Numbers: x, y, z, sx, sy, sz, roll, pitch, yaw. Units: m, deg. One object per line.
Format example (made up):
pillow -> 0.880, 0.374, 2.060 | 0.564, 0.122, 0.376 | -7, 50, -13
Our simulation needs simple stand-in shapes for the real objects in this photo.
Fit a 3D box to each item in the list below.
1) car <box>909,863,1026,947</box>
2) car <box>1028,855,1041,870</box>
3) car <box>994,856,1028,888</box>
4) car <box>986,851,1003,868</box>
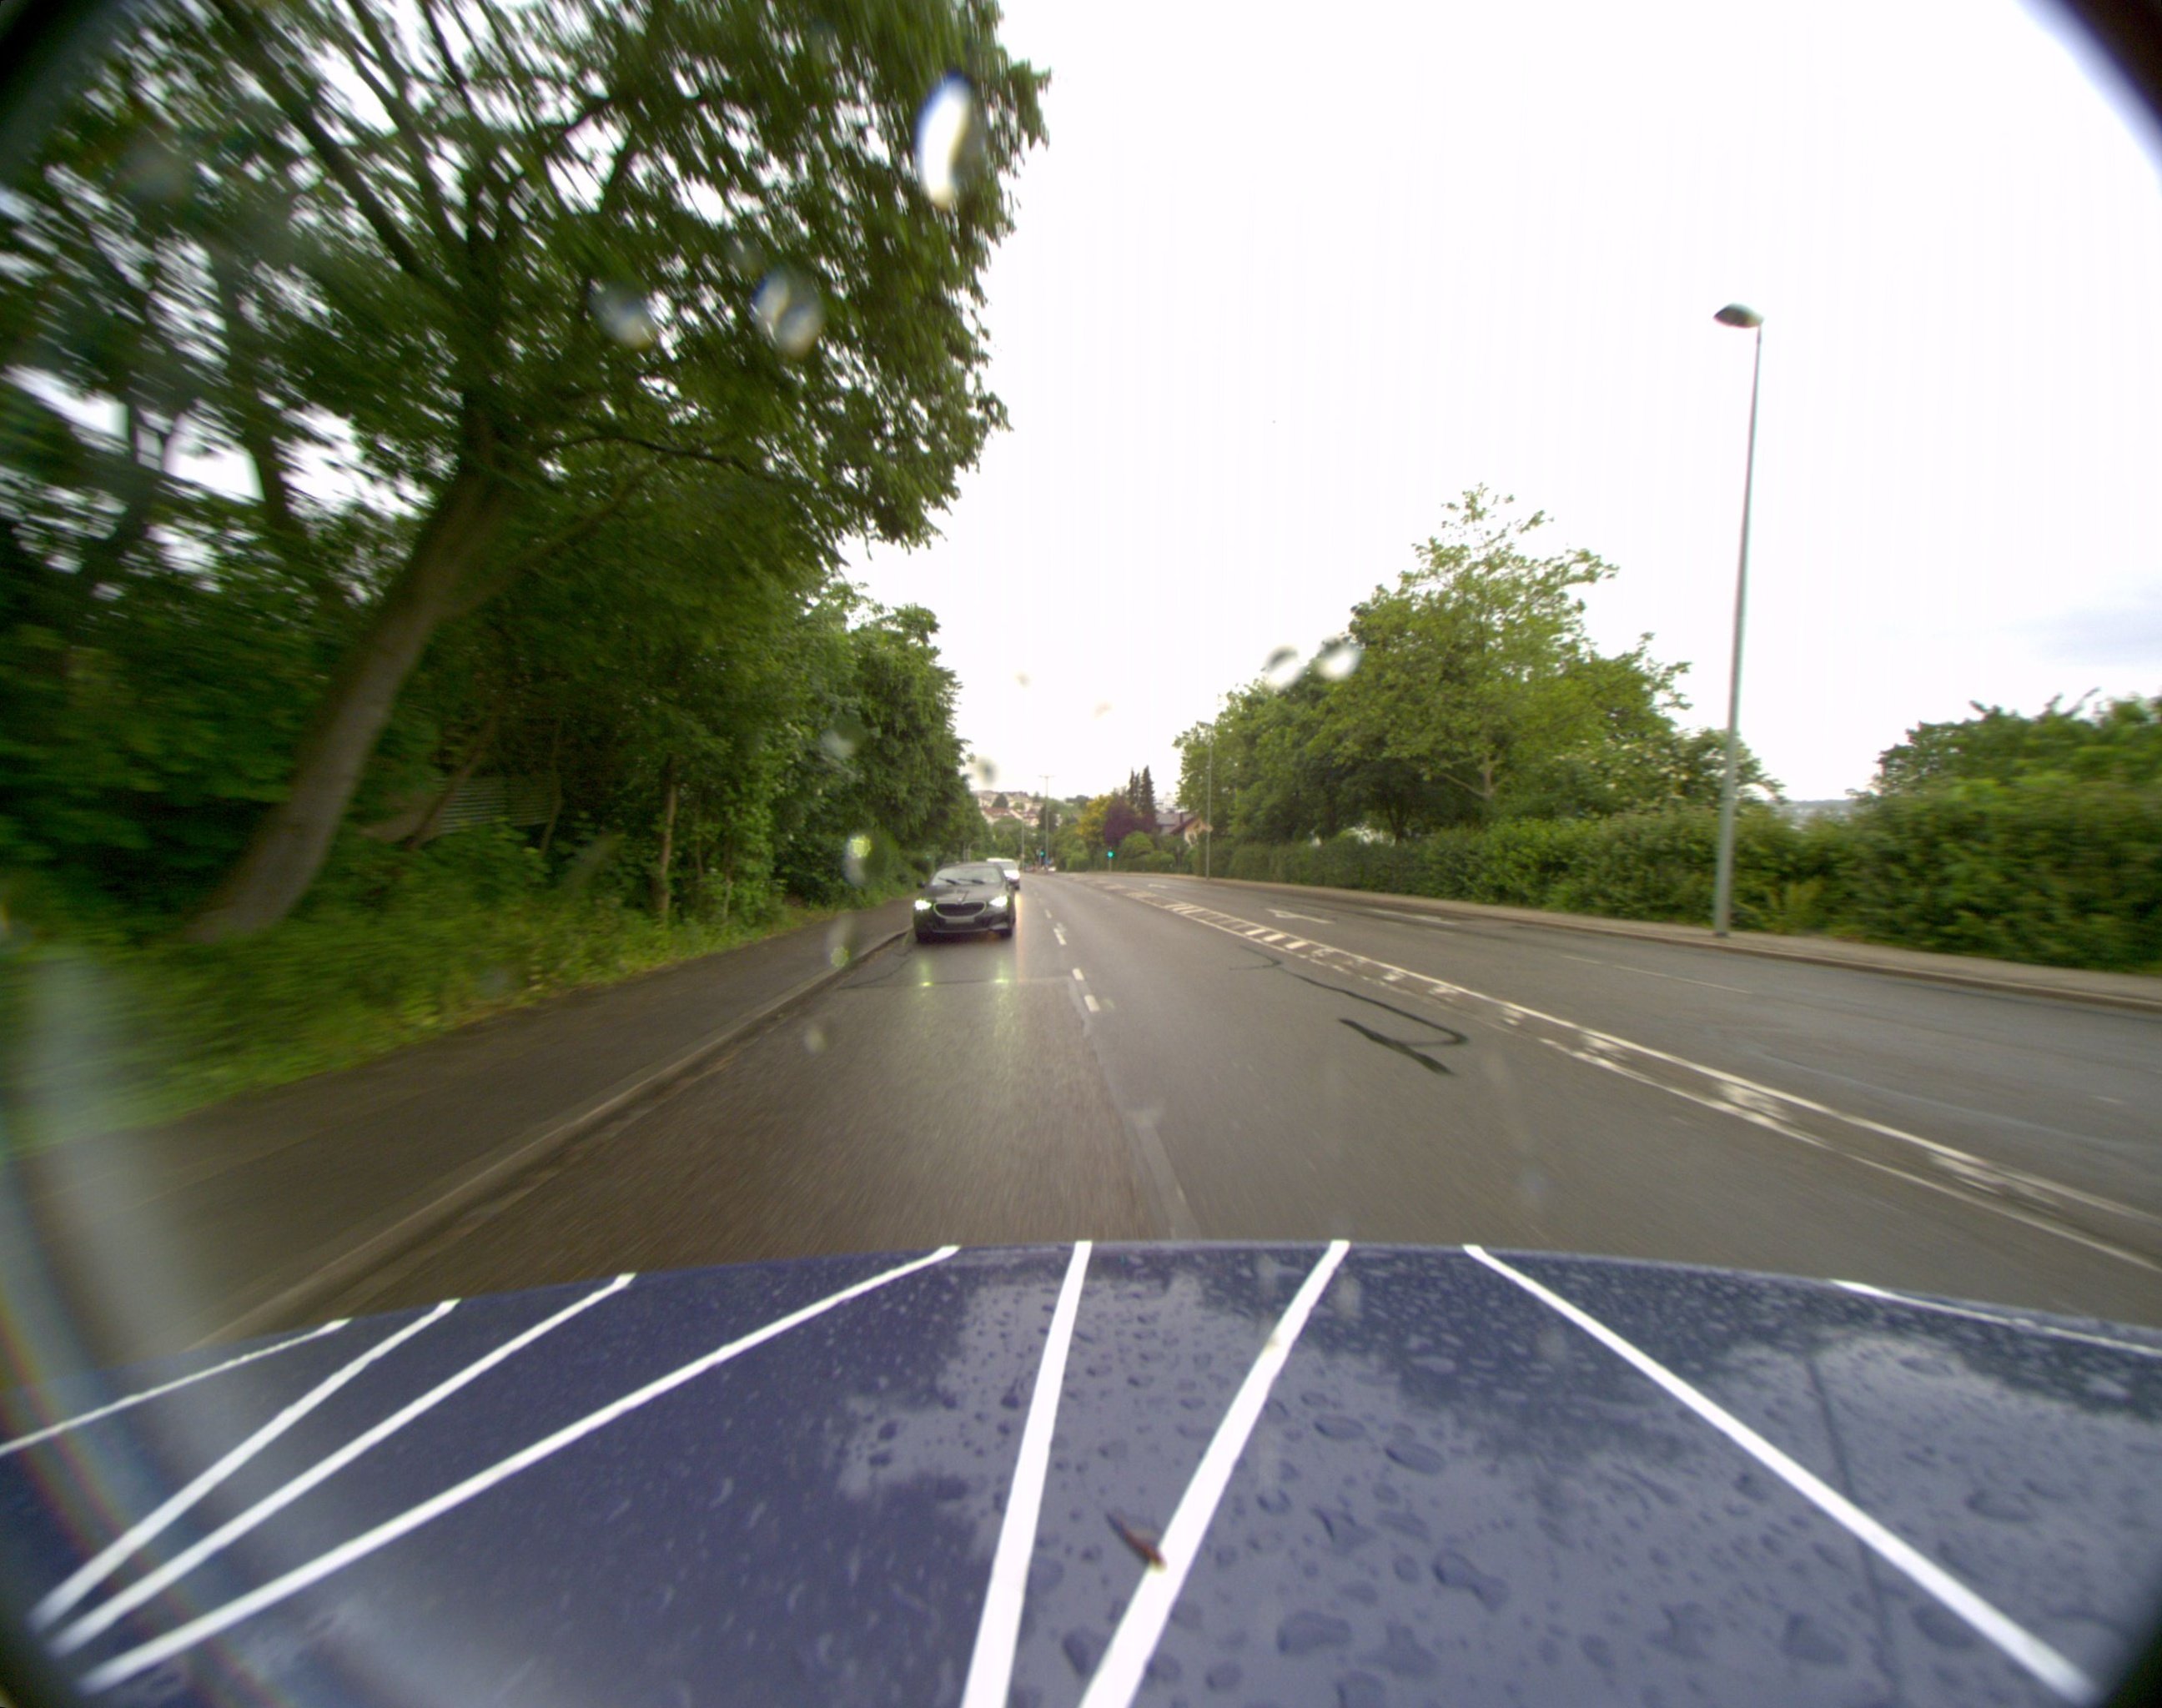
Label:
car -> -2.256, 0.970, 16.167 | 1.845, 1.371, 4.282 | -3, 1, -1
car -> -5.874, 1.045, 96.346 | 1.551, 1.812, 4.281 | 0, 0, -4
car -> -3.507, 0.874, 38.687 | 1.551, 1.505, 4.282 | 0, 0, -3
car -> -8.687, 0.586, 76.541 | 1.704, 1.670, 4.281 | 0, 0, -6
